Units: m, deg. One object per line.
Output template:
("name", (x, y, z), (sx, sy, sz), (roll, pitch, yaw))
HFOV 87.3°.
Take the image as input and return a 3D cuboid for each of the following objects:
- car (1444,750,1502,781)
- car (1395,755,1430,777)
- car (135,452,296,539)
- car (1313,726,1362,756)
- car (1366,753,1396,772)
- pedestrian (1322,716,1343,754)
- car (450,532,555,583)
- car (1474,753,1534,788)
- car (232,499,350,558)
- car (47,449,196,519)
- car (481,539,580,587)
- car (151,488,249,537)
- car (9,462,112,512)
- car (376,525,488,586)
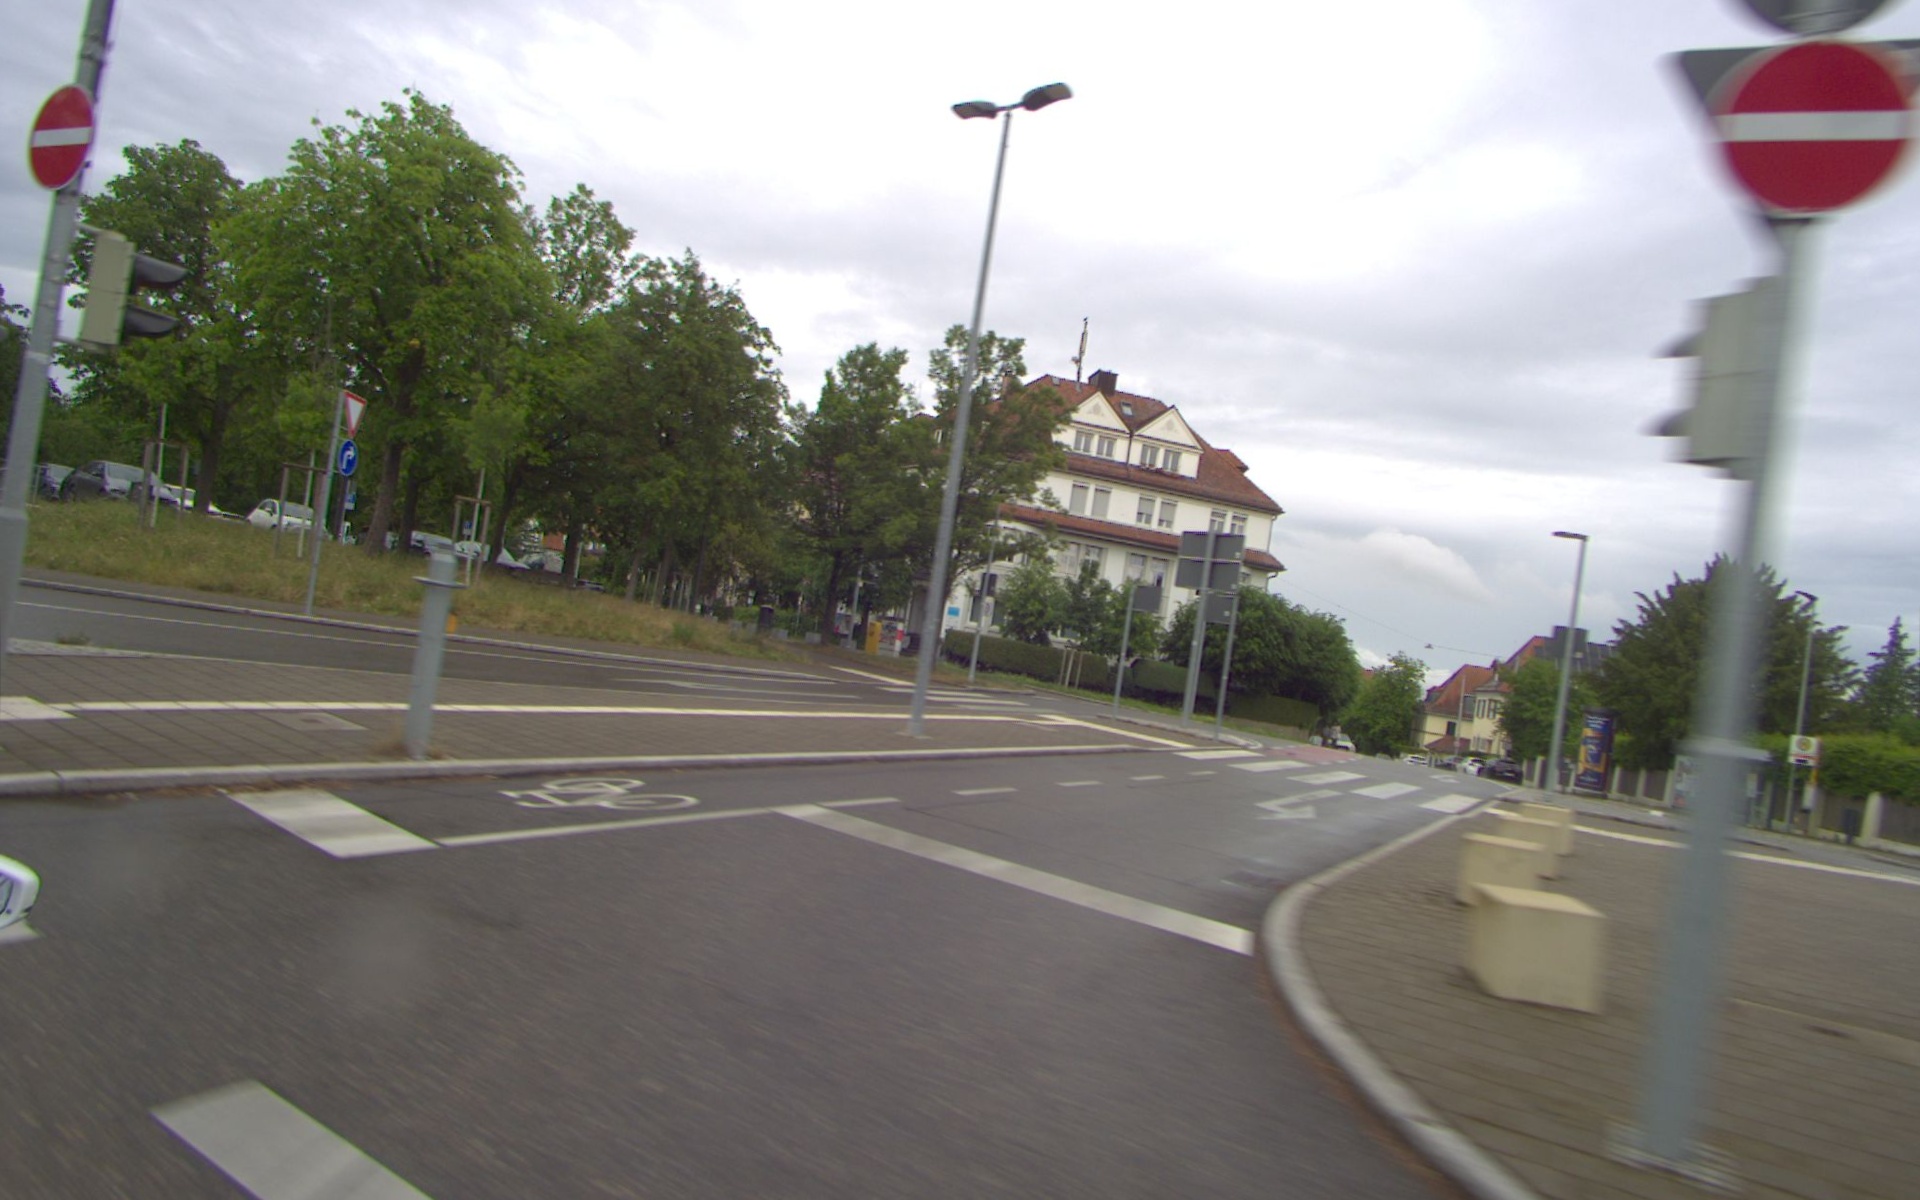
("car", (33.860, 10.916, 66.584), (1.962, 1.495, 5.476), (8, -4, 13))
("car", (38.315, 14.054, 85.330), (1.813, 1.395, 4.010), (8, -4, 13))
("car", (-20.618, -2.900, 27.847), (3.932, 1.678, 2.001), (8, -4, 30))
("car", (24.080, 8.989, 64.377), (1.962, 1.495, 4.010), (8, -4, 9))
("car", (42.211, 16.327, 100.972), (1.962, 1.395, 4.010), (8, -4, 13))
("pedestrian", (19.997, 7.241, 53.970), (0.807, 1.856, 0.696), (7, -4, 23))
("car", (-18.720, -1.751, 41.131), (4.003, 1.495, 1.891), (6, -5, 33))
("car", (31.900, 9.992, 59.078), (1.962, 1.495, 4.010), (8, -4, 13))
("car", (-23.440, -2.505, 35.222), (4.004, 1.495, 1.890), (6, -5, 34))
("car", (-25.577, -3.536, 30.672), (4.211, 1.495, 2.001), (7, -4, 30))
("car", (-18.840, -1.618, 44.110), (4.002, 1.495, 1.891), (6, -5, 33))
("car", (-31.651, -3.656, 41.870), (4.004, 1.495, 1.890), (6, -5, 34))
("car", (-36.644, -4.611, 40.951), (4.706, 1.495, 1.890), (6, -5, 34))
("car", (-20.670, -1.746, 39.338), (3.935, 1.678, 2.000), (7, -4, 33))
